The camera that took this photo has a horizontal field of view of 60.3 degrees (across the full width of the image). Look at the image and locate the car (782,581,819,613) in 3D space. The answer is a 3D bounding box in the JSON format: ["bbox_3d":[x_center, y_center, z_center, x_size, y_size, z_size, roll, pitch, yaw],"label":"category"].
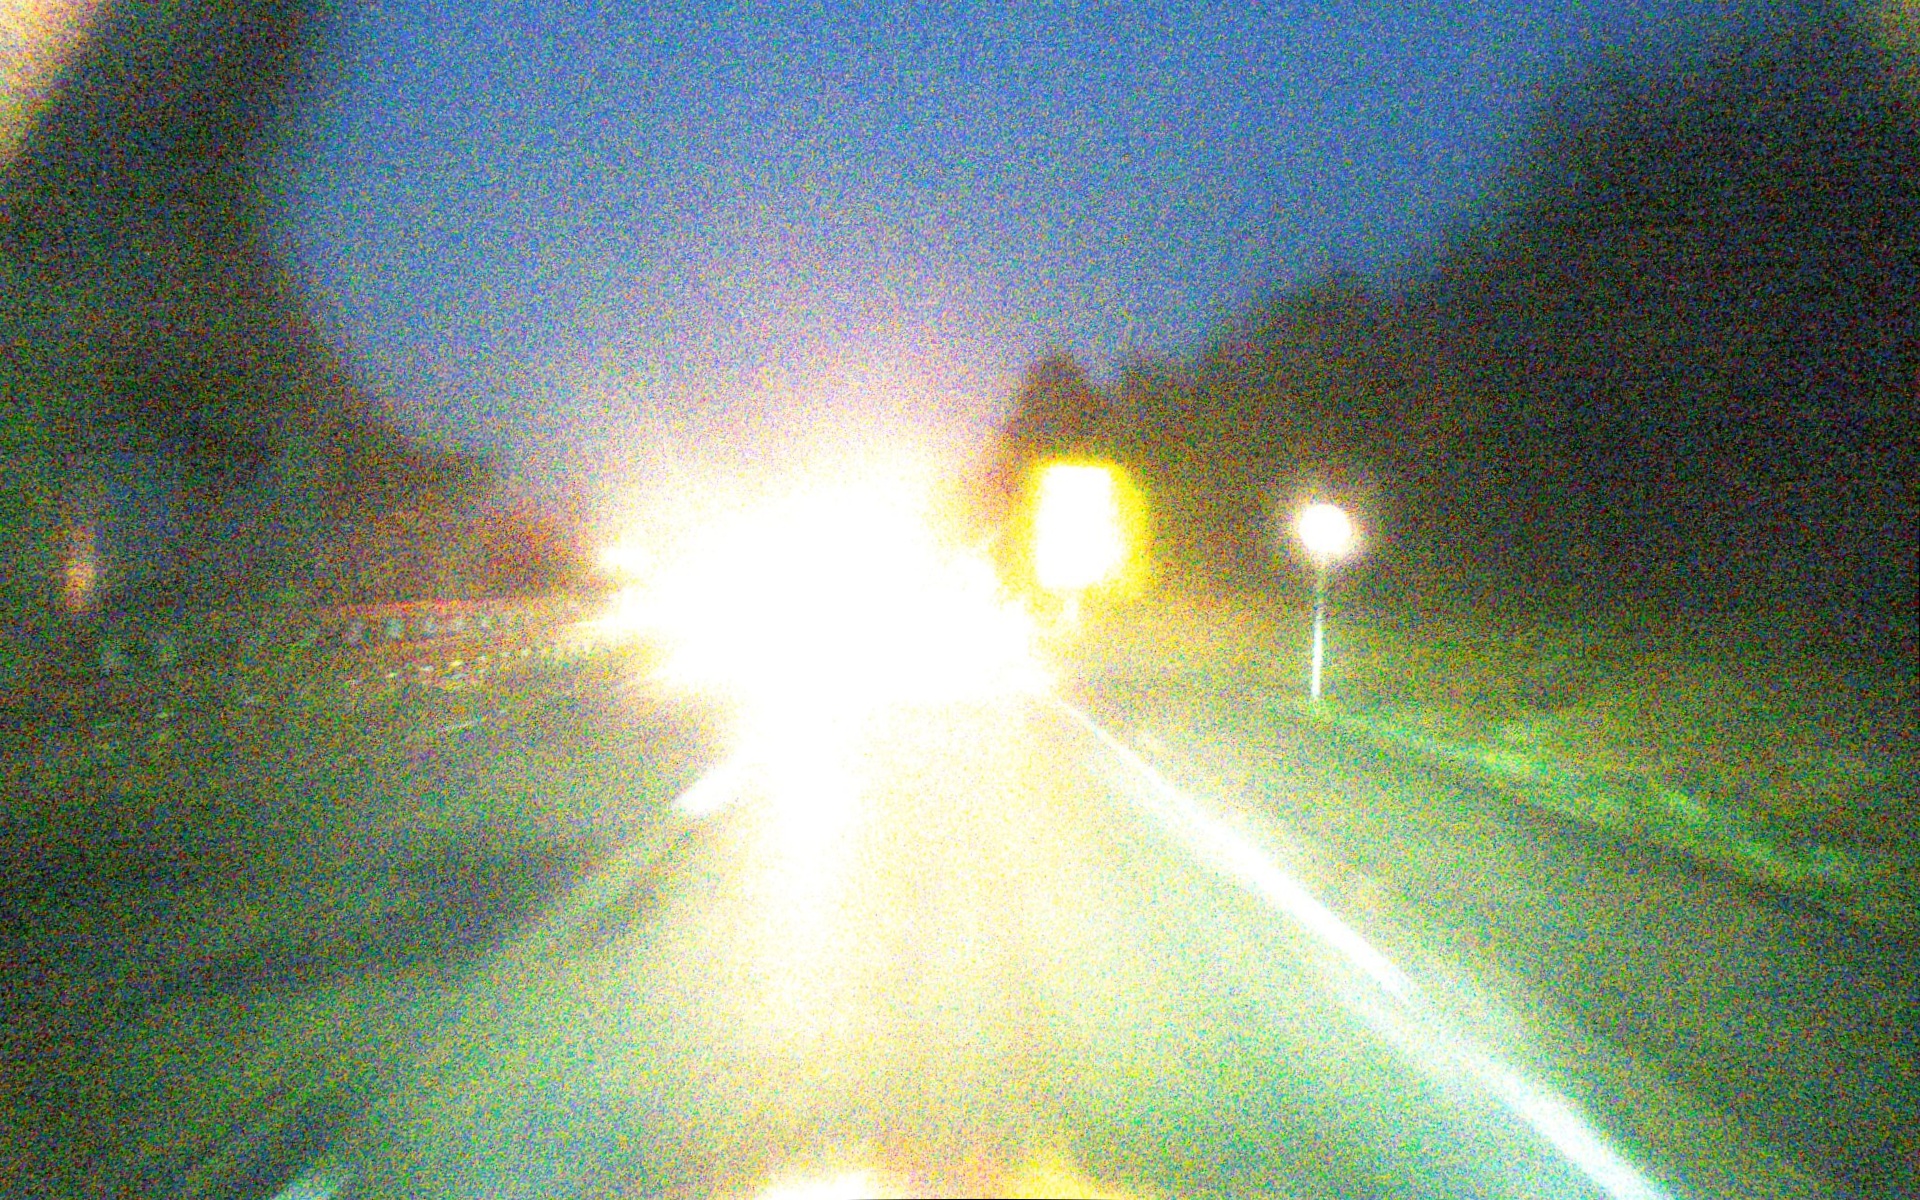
[{"bbox_3d":[-8.531,-0.198,88.886,1.825,1.571,4.226,1,1,-4],"label":"car"}]

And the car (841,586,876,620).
[{"bbox_3d":[-5.951,0.183,97.270,1.954,1.948,3.997,1,0,-3],"label":"car"}]

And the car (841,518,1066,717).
[{"bbox_3d":[-0.200,0.189,22.605,2.661,2.348,6.097,0,0,-3],"label":"car"}]
